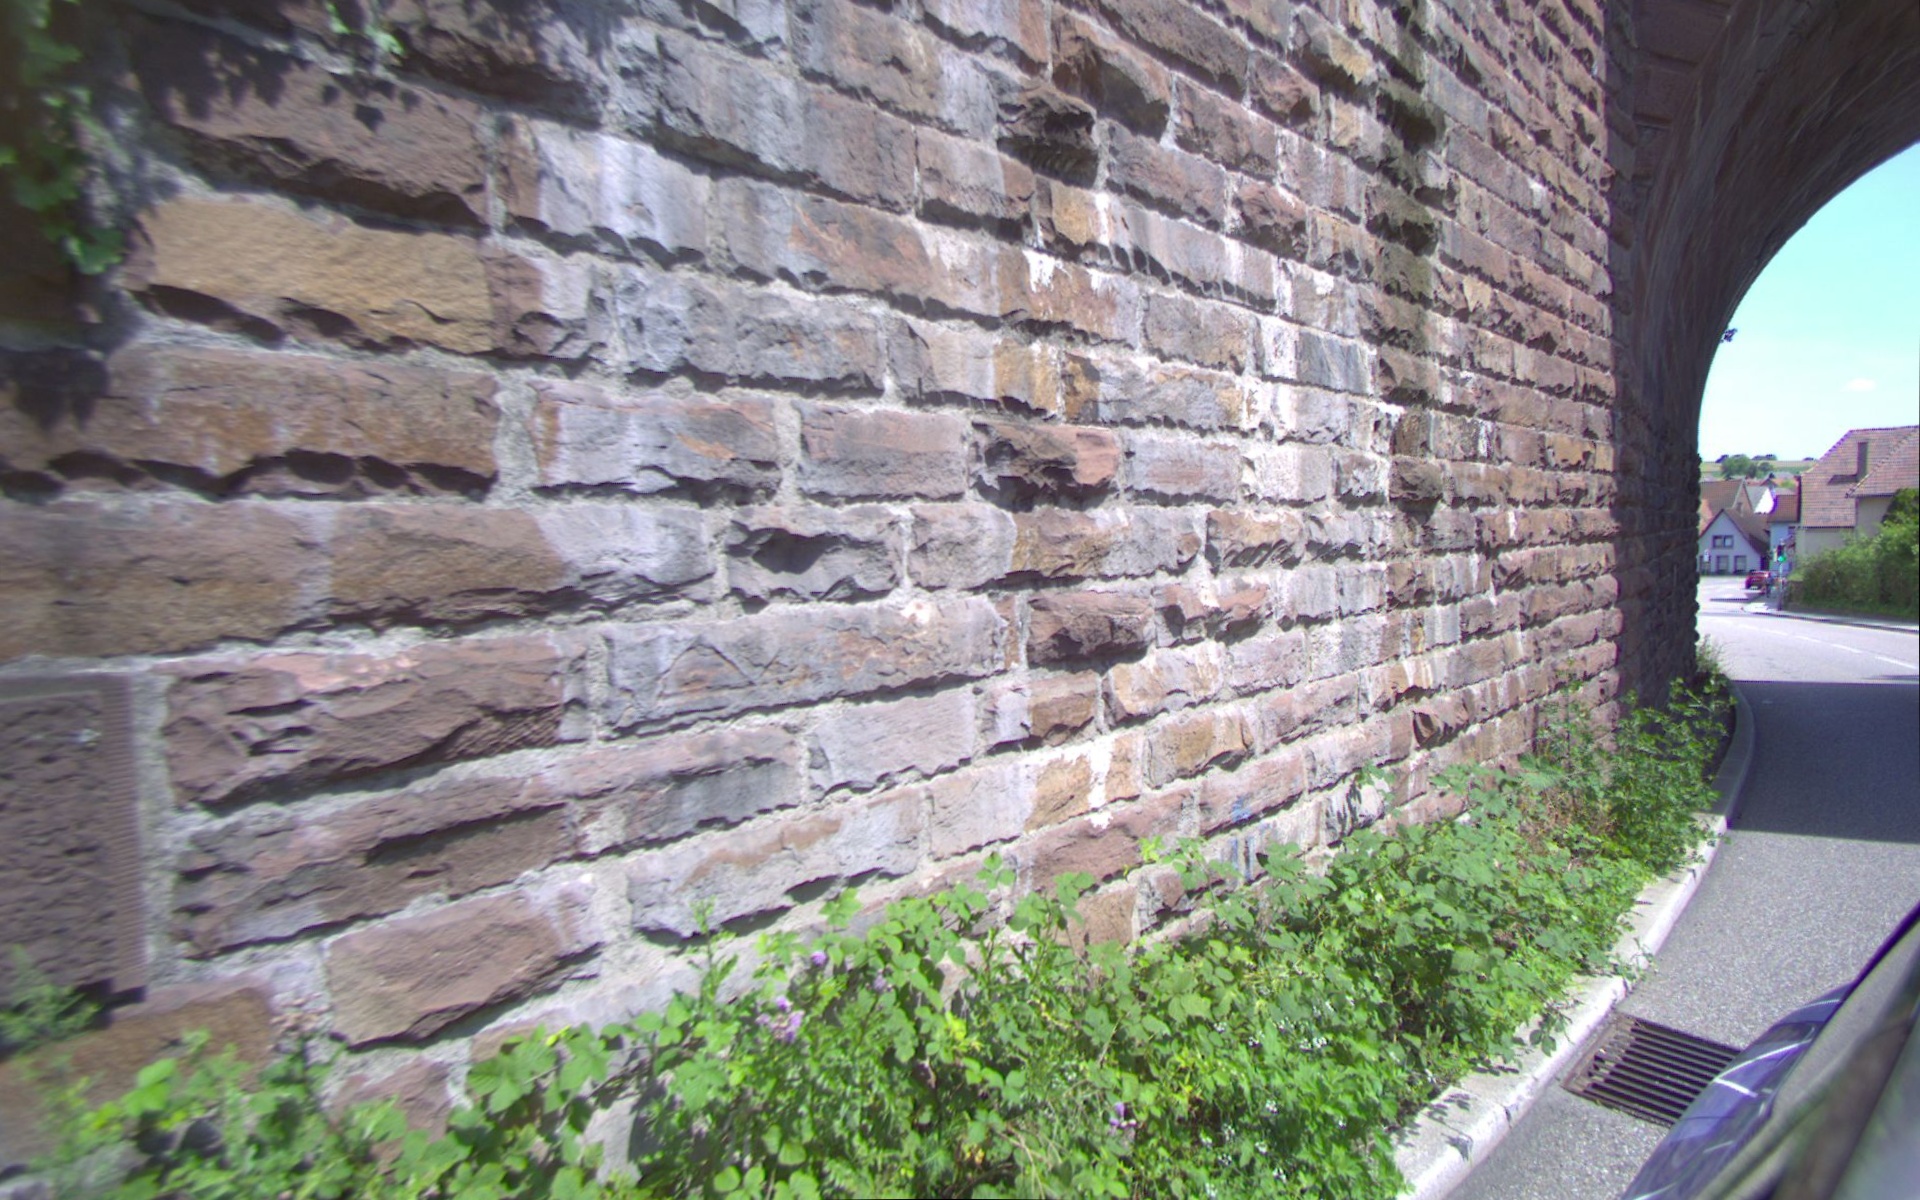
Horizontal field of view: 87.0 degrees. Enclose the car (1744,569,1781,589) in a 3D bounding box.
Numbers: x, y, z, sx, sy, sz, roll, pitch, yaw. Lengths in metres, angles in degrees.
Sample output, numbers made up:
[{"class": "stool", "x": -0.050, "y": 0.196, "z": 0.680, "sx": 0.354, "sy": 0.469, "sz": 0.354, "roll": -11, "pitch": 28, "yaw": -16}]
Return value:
[{"class": "car", "x": 68.455, "y": -1.798, "z": 86.319, "sx": 3.930, "sy": 1.672, "sz": 1.828, "roll": -1, "pitch": 0, "yaw": -41}]
